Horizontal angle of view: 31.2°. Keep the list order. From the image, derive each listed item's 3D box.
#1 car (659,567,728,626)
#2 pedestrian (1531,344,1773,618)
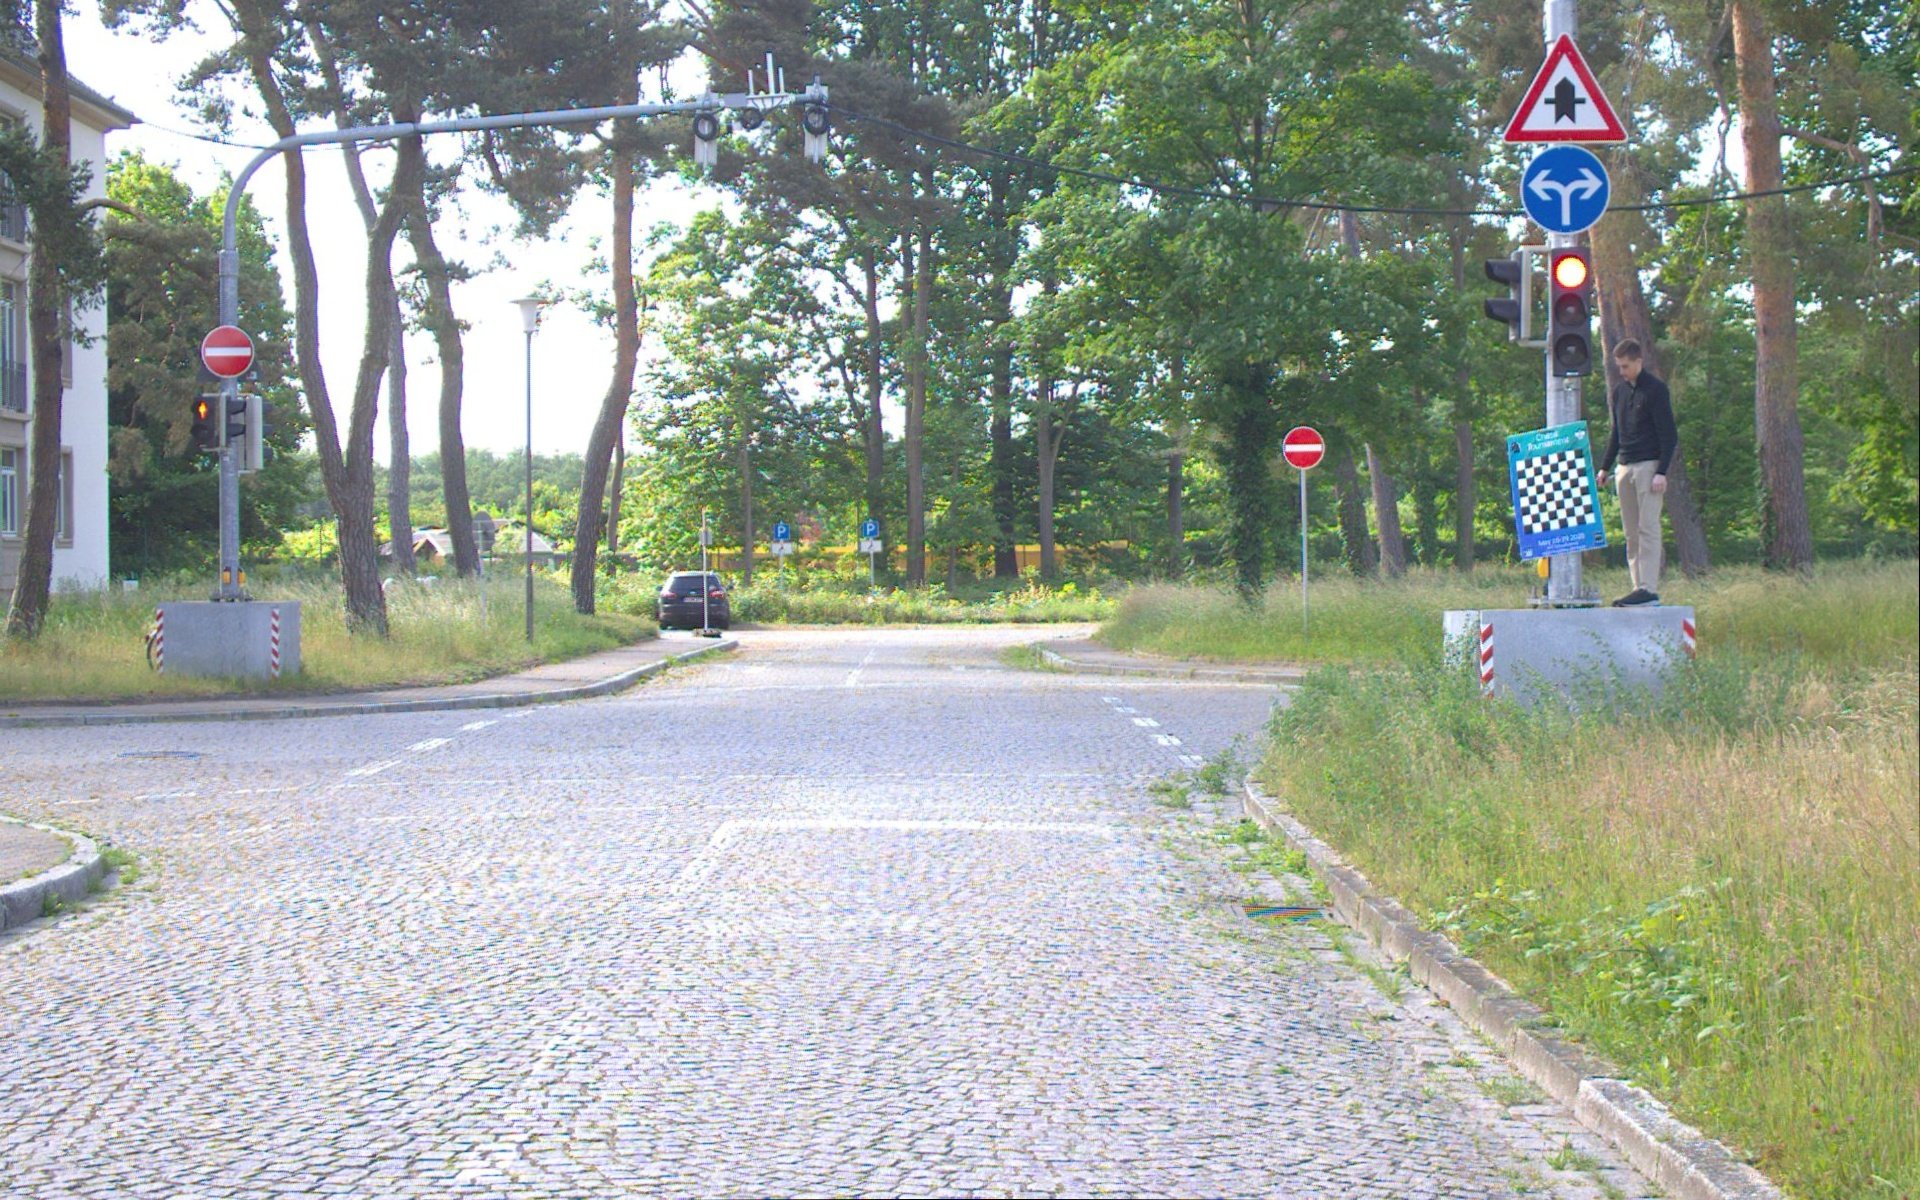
[{"bbox_3d":[-7.021,-0.105,90.893,1.709,1.491,3.919,-1,1,-3],"label":"car"},{"bbox_3d":[4.668,-0.788,23.211,1.059,1.790,1.171,-2,1,-38],"label":"pedestrian"}]
